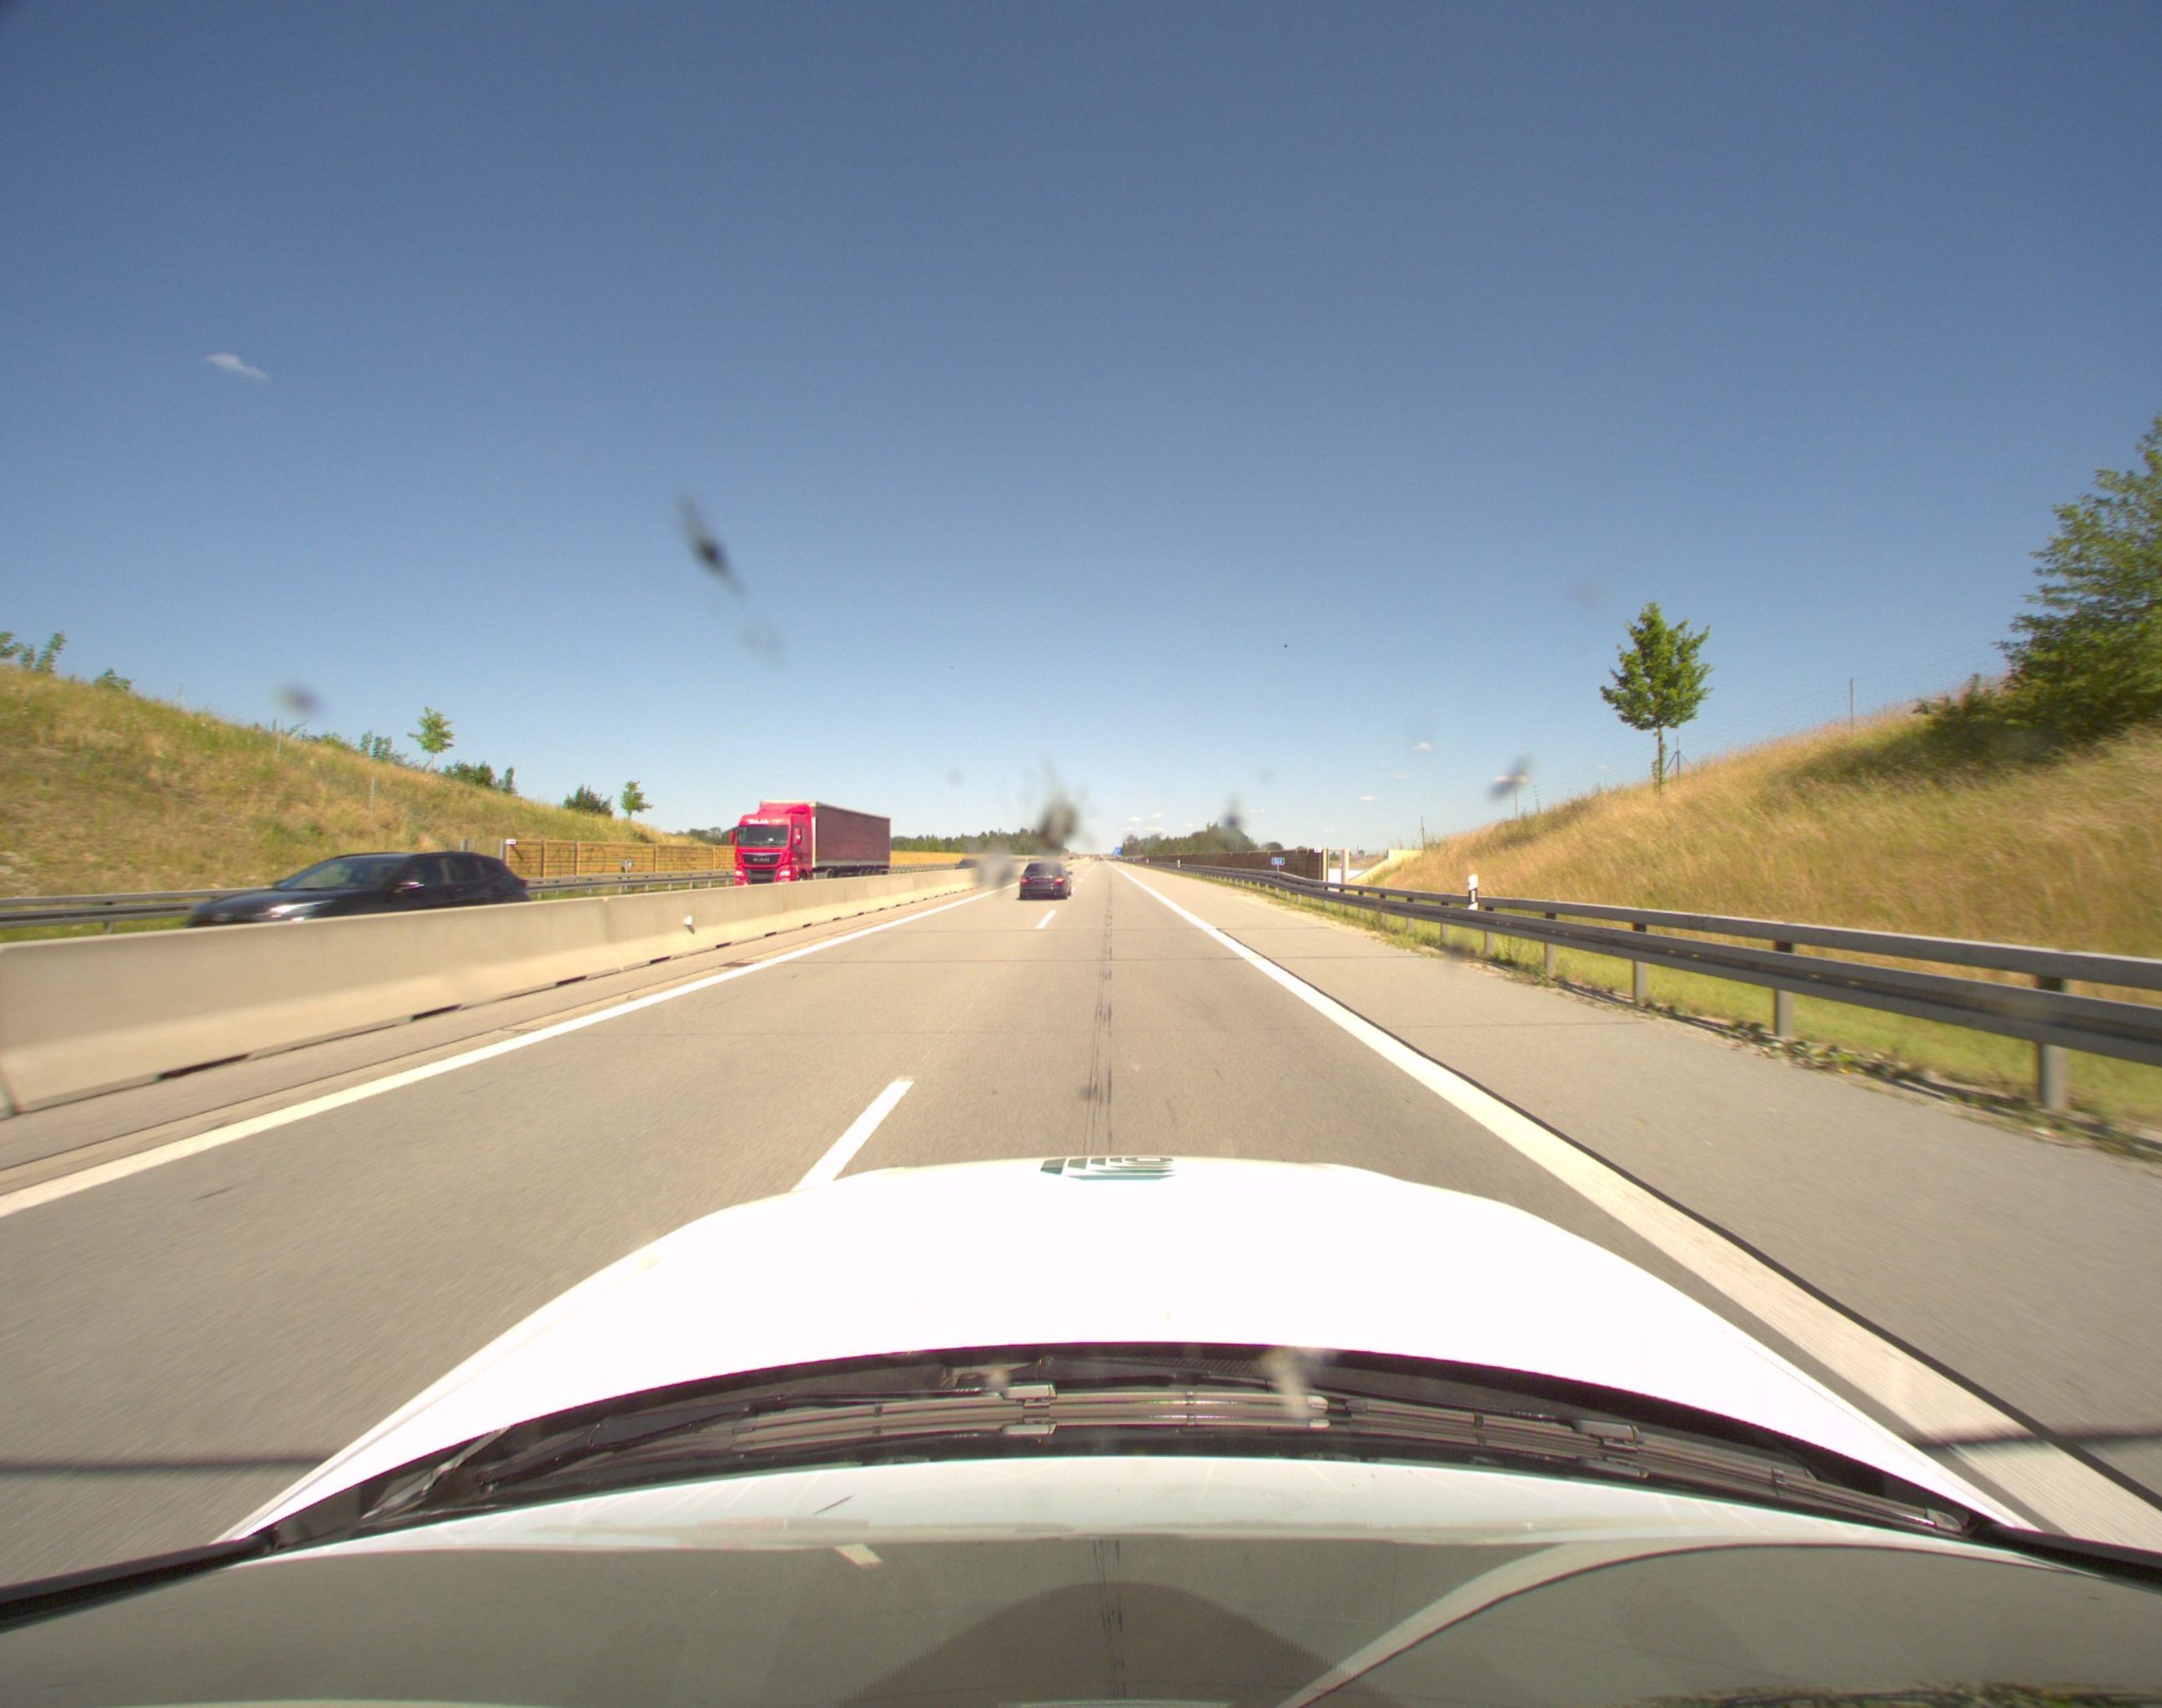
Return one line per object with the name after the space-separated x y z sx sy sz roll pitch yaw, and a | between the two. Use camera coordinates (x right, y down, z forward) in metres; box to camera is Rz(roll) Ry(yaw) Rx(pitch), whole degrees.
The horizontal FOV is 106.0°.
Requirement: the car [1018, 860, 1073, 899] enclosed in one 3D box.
-1.262 0.920 30.734 1.783 1.374 3.918 0 0 2 | car

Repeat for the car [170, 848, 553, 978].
-9.688 0.691 11.526 1.680 1.505 4.163 0 0 0 | car

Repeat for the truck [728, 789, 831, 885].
-13.158 -0.678 35.955 2.627 3.922 4.896 0 -1 1 | truck

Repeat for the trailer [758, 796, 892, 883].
-13.043 -0.584 43.228 2.629 3.875 13.735 0 0 1 | trailer
